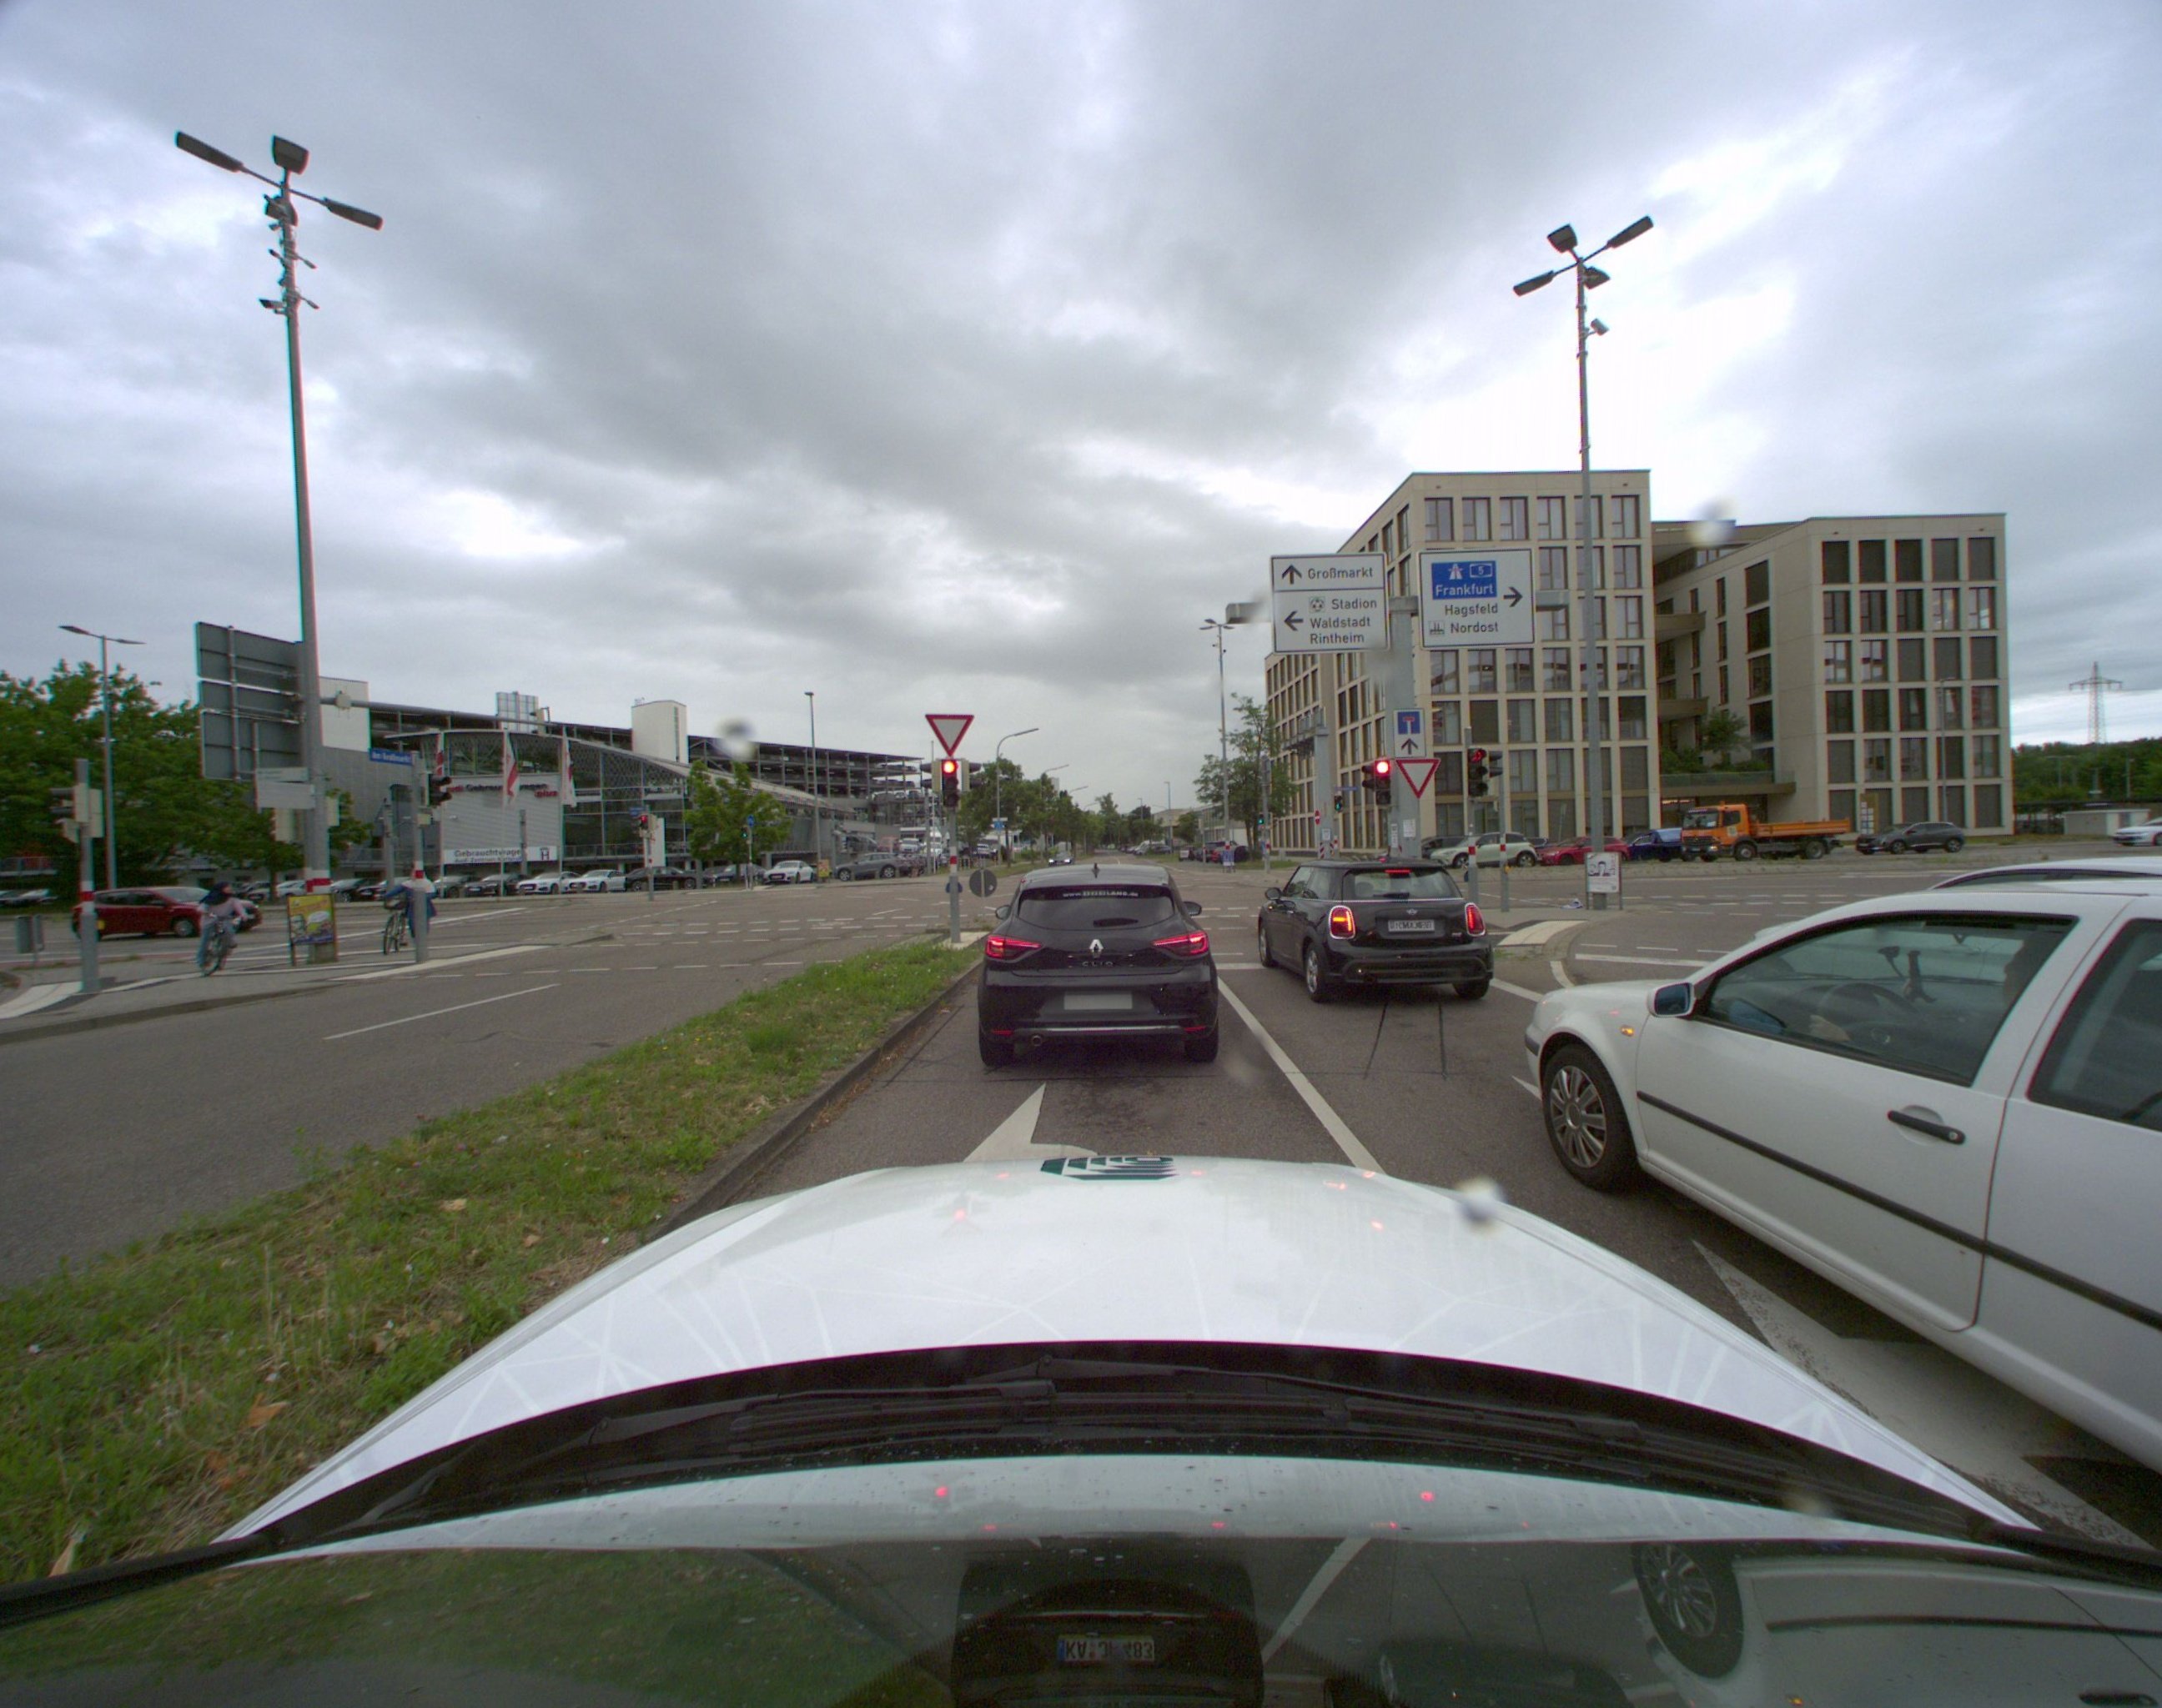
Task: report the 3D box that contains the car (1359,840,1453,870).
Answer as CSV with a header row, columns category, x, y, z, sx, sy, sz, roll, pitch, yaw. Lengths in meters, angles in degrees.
category,x,y,z,sx,sy,sz,roll,pitch,yaw
car,16.334,0.051,41.025,4.074,1.432,1.750,0,-1,-3

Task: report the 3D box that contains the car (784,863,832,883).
category,x,y,z,sx,sy,sz,roll,pitch,yaw
car,-26.106,1.802,78.037,3.979,1.838,1.757,0,-1,-4

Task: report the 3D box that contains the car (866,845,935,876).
category,x,y,z,sx,sy,sz,roll,pitch,yaw
car,-13.759,0.480,62.170,4.765,2.013,1.997,-4,0,-5

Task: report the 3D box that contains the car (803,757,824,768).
category,x,y,z,sx,sy,sz,roll,pitch,yaw
car,-52.609,-17.991,160.142,3.948,1.667,2.013,-1,0,33

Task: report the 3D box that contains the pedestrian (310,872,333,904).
category,x,y,z,sx,sy,sz,roll,pitch,yaw
pedestrian,-45.466,2.049,48.776,0.714,1.871,0.673,-2,-2,0

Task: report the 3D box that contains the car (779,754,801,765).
category,x,y,z,sx,sy,sz,roll,pitch,yaw
car,-55.618,-17.983,155.557,3.948,1.667,2.013,-1,0,33

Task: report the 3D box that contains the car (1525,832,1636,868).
category,x,y,z,sx,sy,sz,roll,pitch,yaw
car,23.241,-0.161,37.977,3.976,1.601,1.999,0,-1,-2

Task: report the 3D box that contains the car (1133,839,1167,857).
category,x,y,z,sx,sy,sz,roll,pitch,yaw
car,12.769,-1.099,151.526,6.096,3.116,2.134,0,-1,0

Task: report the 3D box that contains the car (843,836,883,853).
category,x,y,z,sx,sy,sz,roll,pitch,yaw
car,-24.375,-1.092,90.990,3.975,1.838,1.759,0,-1,-1

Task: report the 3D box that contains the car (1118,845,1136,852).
category,x,y,z,sx,sy,sz,roll,pitch,yaw
car,12.924,-1.636,229.884,4.771,1.891,2.143,0,-1,-1

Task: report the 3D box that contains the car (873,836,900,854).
category,x,y,z,sx,sy,sz,roll,pitch,yaw
car,-20.100,-0.914,84.243,1.988,1.849,3.997,0,-1,-2

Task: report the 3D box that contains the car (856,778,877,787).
category,x,y,z,sx,sy,sz,roll,pitch,yaw
car,-45.159,-15.015,171.345,3.948,1.667,2.013,-1,0,33

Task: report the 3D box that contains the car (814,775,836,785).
category,x,y,z,sx,sy,sz,roll,pitch,yaw
car,-51.018,-14.774,162.297,3.948,1.667,2.013,-1,0,33

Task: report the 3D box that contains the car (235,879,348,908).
category,x,y,z,sx,sy,sz,roll,pitch,yaw
car,-43.818,2.169,45.363,1.837,1.472,4.660,-1,-2,-2

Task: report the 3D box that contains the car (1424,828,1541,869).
category,x,y,z,sx,sy,sz,roll,pitch,yaw
car,16.922,-0.228,34.421,4.047,1.643,1.903,0,-1,-4

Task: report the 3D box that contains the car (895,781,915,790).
category,x,y,z,sx,sy,sz,roll,pitch,yaw
car,-39.144,-15.238,181.002,3.948,1.667,2.013,-1,0,33

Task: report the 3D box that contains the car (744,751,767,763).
category,x,y,z,sx,sy,sz,roll,pitch,yaw
car,-59.699,-17.750,149.338,3.948,1.667,2.013,-1,0,33

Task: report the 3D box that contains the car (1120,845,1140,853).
category,x,y,z,sx,sy,sz,roll,pitch,yaw
car,13.232,-1.418,219.052,5.156,2.014,2.144,0,-1,0

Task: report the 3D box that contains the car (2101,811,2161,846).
category,x,y,z,sx,sy,sz,roll,pitch,yaw
car,53.929,-1.265,40.082,4.316,1.657,2.007,-1,-1,13

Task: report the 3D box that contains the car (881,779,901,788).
category,x,y,z,sx,sy,sz,roll,pitch,yaw
car,-41.417,-15.293,177.703,3.948,1.667,2.013,-1,0,33

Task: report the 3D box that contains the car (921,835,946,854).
category,x,y,z,sx,sy,sz,roll,pitch,yaw
car,-15.203,-0.937,84.013,1.988,1.823,3.997,0,-1,-2

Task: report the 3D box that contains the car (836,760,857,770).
category,x,y,z,sx,sy,sz,roll,pitch,yaw
car,-48.133,-18.240,166.828,3.948,1.667,2.013,-1,0,33

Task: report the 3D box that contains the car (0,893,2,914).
category,x,y,z,sx,sy,sz,roll,pitch,yaw
car,-63.243,2.823,44.975,1.808,1.486,4.072,0,-5,-2

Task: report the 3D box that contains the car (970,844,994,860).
category,x,y,z,sx,sy,sz,roll,pitch,yaw
car,-10.153,-0.178,83.702,1.988,1.618,3.997,0,-1,-2

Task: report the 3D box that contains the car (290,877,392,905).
category,x,y,z,sx,sy,sz,roll,pitch,yaw
car,-41.142,2.068,45.421,1.891,1.391,4.164,-2,-2,-2

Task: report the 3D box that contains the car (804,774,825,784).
category,x,y,z,sx,sy,sz,roll,pitch,yaw
car,-52.403,-14.726,160.133,3.948,1.667,2.013,-1,0,33

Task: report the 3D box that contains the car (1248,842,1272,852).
category,x,y,z,sx,sy,sz,roll,pitch,yaw
car,24.317,-0.963,110.579,3.209,1.332,1.490,-1,-1,12

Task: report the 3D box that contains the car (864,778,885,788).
category,x,y,z,sx,sy,sz,roll,pitch,yaw
car,-43.954,-15.091,173.279,3.948,1.667,2.013,-1,0,33

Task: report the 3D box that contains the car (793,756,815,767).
category,x,y,z,sx,sy,sz,roll,pitch,yaw
car,-53.839,-17.998,158.158,3.948,1.667,2.013,-1,0,33

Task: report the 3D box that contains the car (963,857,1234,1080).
category,x,y,z,sx,sy,sz,roll,pitch,yaw
car,0.174,0.761,7.288,1.750,1.434,4.001,0,-1,2

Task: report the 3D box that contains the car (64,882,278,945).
category,x,y,z,sx,sy,sz,roll,pitch,yaw
car,-26.714,1.720,24.035,4.058,1.487,1.738,-3,0,-5

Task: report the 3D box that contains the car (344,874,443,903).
category,x,y,z,sx,sy,sz,roll,pitch,yaw
car,-38.402,1.950,45.637,1.883,1.471,4.375,-2,-2,-2

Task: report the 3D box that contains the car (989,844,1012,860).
category,x,y,z,sx,sy,sz,roll,pitch,yaw
car,-8.361,-0.179,84.793,1.987,1.618,3.999,0,-1,0

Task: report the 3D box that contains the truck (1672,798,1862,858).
category,x,y,z,sx,sy,sz,roll,pitch,yaw
truck,32.055,-1.173,38.238,6.633,2.638,2.820,0,-1,-1

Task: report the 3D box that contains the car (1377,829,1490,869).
category,x,y,z,sx,sy,sz,roll,pitch,yaw
car,16.271,-0.216,37.742,4.396,1.769,1.998,0,-1,-3

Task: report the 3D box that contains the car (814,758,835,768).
category,x,y,z,sx,sy,sz,roll,pitch,yaw
car,-51.139,-18.168,162.411,3.948,1.667,2.013,-1,0,33

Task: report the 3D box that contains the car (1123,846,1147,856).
category,x,y,z,sx,sy,sz,roll,pitch,yaw
car,12.021,-0.641,182.150,5.156,2.014,2.144,0,-1,0

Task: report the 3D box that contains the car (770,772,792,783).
category,x,y,z,sx,sy,sz,roll,pitch,yaw
car,-56.700,-14.427,153.794,3.948,1.667,2.013,-1,0,33

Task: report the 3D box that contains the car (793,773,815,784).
category,x,y,z,sx,sy,sz,roll,pitch,yaw
car,-53.819,-14.666,158.040,3.948,1.667,2.013,-1,0,33

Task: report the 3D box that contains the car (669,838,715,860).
category,x,y,z,sx,sy,sz,roll,pitch,yaw
car,-30.519,-0.402,63.961,1.815,1.662,3.996,0,-1,-3

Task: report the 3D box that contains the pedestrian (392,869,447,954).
category,x,y,z,sx,sy,sz,roll,pitch,yaw
pedestrian,-13.480,1.161,16.612,0.642,1.626,0.686,-5,0,-26

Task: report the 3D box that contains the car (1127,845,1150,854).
category,x,y,z,sx,sy,sz,roll,pitch,yaw
car,12.360,-0.995,175.536,4.771,1.891,2.143,0,-1,-1

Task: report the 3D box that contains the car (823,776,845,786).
category,x,y,z,sx,sy,sz,roll,pitch,yaw
car,-49.776,-14.795,164.121,3.948,1.667,2.013,-1,0,33

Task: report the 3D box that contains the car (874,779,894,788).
category,x,y,z,sx,sy,sz,roll,pitch,yaw
car,-42.592,-15.219,175.772,3.948,1.667,2.013,-1,0,33

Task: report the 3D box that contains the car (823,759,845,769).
category,x,y,z,sx,sy,sz,roll,pitch,yaw
car,-49.788,-18.156,164.203,3.948,1.667,2.013,-1,0,33

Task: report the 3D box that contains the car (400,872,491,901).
category,x,y,z,sx,sy,sz,roll,pitch,yaw
car,-35.545,1.836,45.734,1.897,1.486,4.186,-2,-2,-2

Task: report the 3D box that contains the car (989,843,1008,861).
category,x,y,z,sx,sy,sz,roll,pitch,yaw
car,-9.652,-0.249,95.505,1.988,2.014,3.997,0,-1,-2

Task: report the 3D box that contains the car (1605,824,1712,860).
category,x,y,z,sx,sy,sz,roll,pitch,yaw
car,29.475,-0.573,41.625,4.126,1.769,1.998,0,-1,-3

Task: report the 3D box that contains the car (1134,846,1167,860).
category,x,y,z,sx,sy,sz,roll,pitch,yaw
car,10.982,-0.152,128.936,5.158,2.014,2.143,0,-1,-1

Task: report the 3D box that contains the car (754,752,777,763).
category,x,y,z,sx,sy,sz,roll,pitch,yaw
car,-58.654,-17.892,151.364,3.948,1.667,2.013,-1,0,33

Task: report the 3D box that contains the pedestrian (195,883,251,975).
category,x,y,z,sx,sy,sz,roll,pitch,yaw
pedestrian,-15.108,1.296,14.341,0.641,1.549,0.658,-4,-3,42

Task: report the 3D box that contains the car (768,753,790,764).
category,x,y,z,sx,sy,sz,roll,pitch,yaw
car,-56.965,-17.988,153.720,3.948,1.667,2.013,-1,0,33

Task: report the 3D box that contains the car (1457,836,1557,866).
category,x,y,z,sx,sy,sz,roll,pitch,yaw
car,21.450,-0.143,41.132,4.126,1.490,1.870,0,-1,-3

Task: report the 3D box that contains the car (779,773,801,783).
category,x,y,z,sx,sy,sz,roll,pitch,yaw
car,-55.732,-14.552,155.854,3.948,1.667,2.013,-1,0,33

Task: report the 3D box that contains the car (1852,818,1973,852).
category,x,y,z,sx,sy,sz,roll,pitch,yaw
car,42.559,-0.950,41.772,4.089,1.657,2.002,0,-1,3
